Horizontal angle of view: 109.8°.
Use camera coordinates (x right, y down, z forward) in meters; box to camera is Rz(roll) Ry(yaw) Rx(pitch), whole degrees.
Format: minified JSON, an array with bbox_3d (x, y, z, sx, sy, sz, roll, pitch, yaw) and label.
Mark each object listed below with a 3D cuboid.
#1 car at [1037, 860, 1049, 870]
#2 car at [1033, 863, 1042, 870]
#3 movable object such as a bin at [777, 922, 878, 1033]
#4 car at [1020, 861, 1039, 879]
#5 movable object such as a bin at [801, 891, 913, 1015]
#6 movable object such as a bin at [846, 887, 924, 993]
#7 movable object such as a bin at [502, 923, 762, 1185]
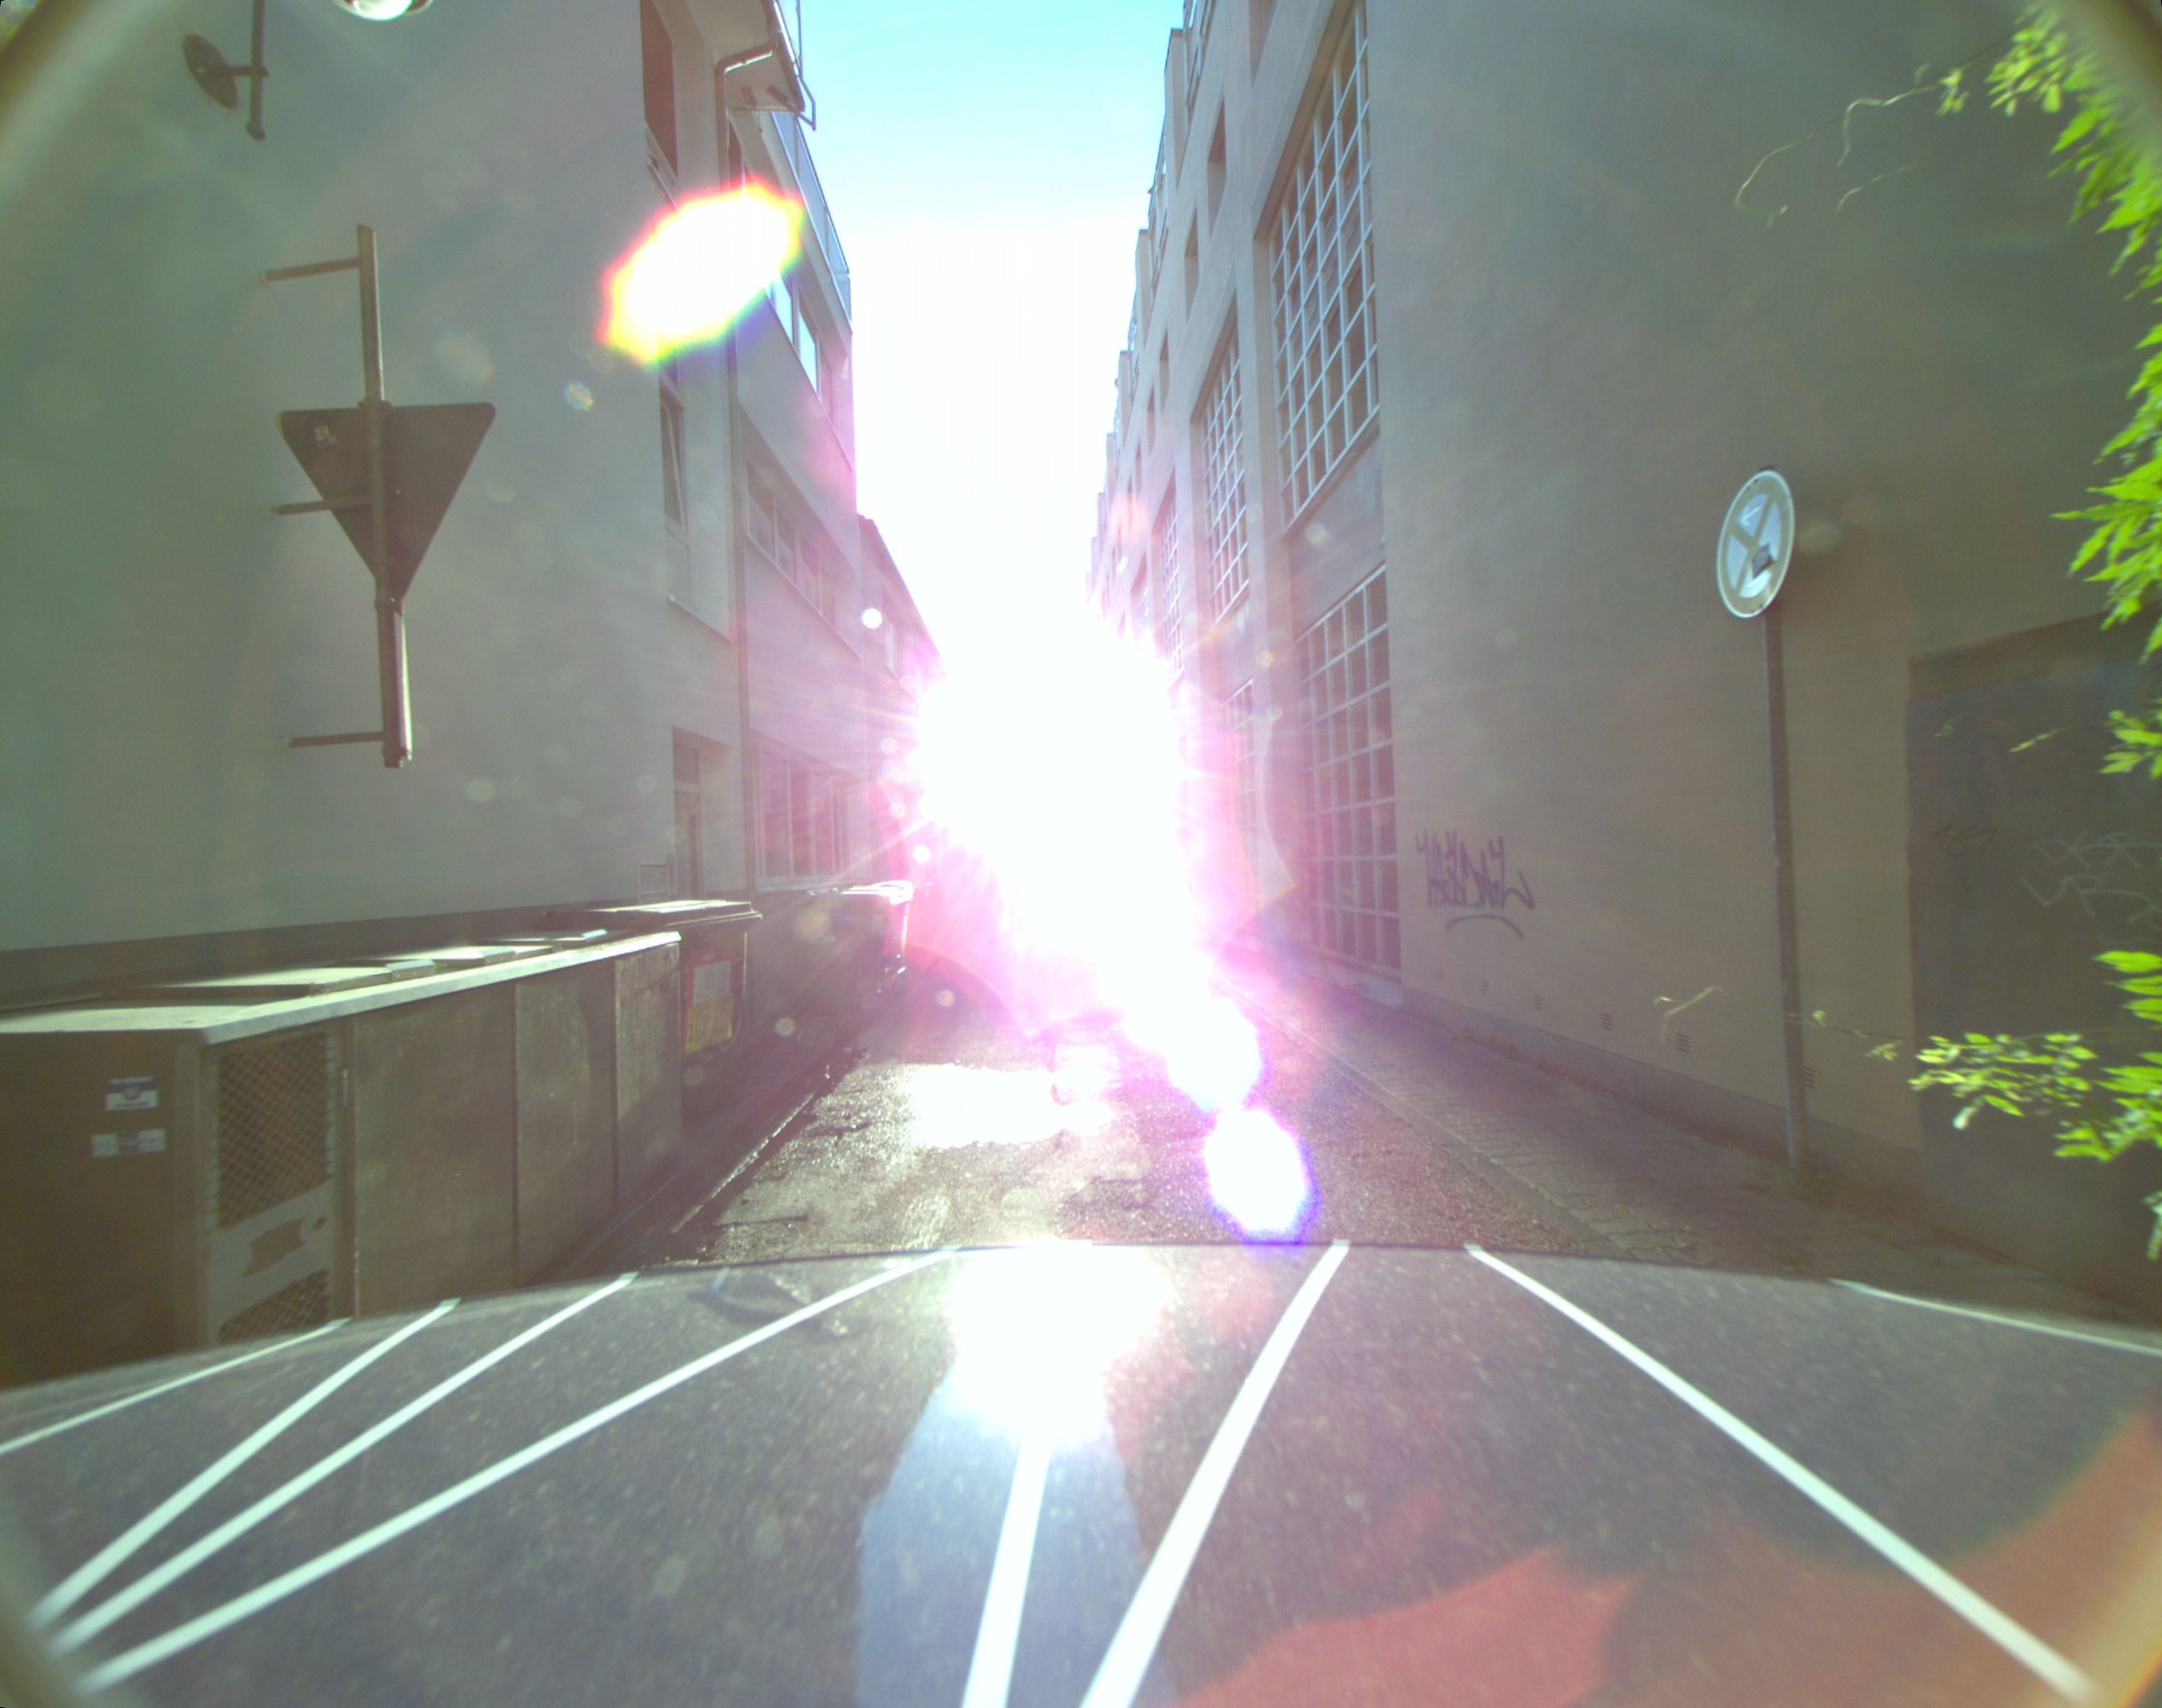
[{"bbox_3d":[-7.434,2.136,148.640,1.999,1.805,3.999,-4,0,-4],"label":"car"},{"bbox_3d":[-9.517,2.753,166.943,1.806,1.415,3.754,-4,0,-6],"label":"car"},{"bbox_3d":[-2.695,1.299,8.150,0.871,1.068,0.738,0,0,-4],"label":"movable object such as a bin"},{"bbox_3d":[-5.589,1.709,82.724,1.764,1.756,4.749,-4,0,-2],"label":"car"},{"bbox_3d":[-2.710,1.168,9.378,1.067,1.358,1.341,0,0,-5],"label":"movable object such as a bin"},{"bbox_3d":[-2.744,1.171,10.782,0.940,1.358,1.341,0,0,-9],"label":"movable object such as a bin"},{"bbox_3d":[-2.681,1.134,4.725,0.838,1.297,1.290,0,0,1],"label":"movable object such as a bin"}]
